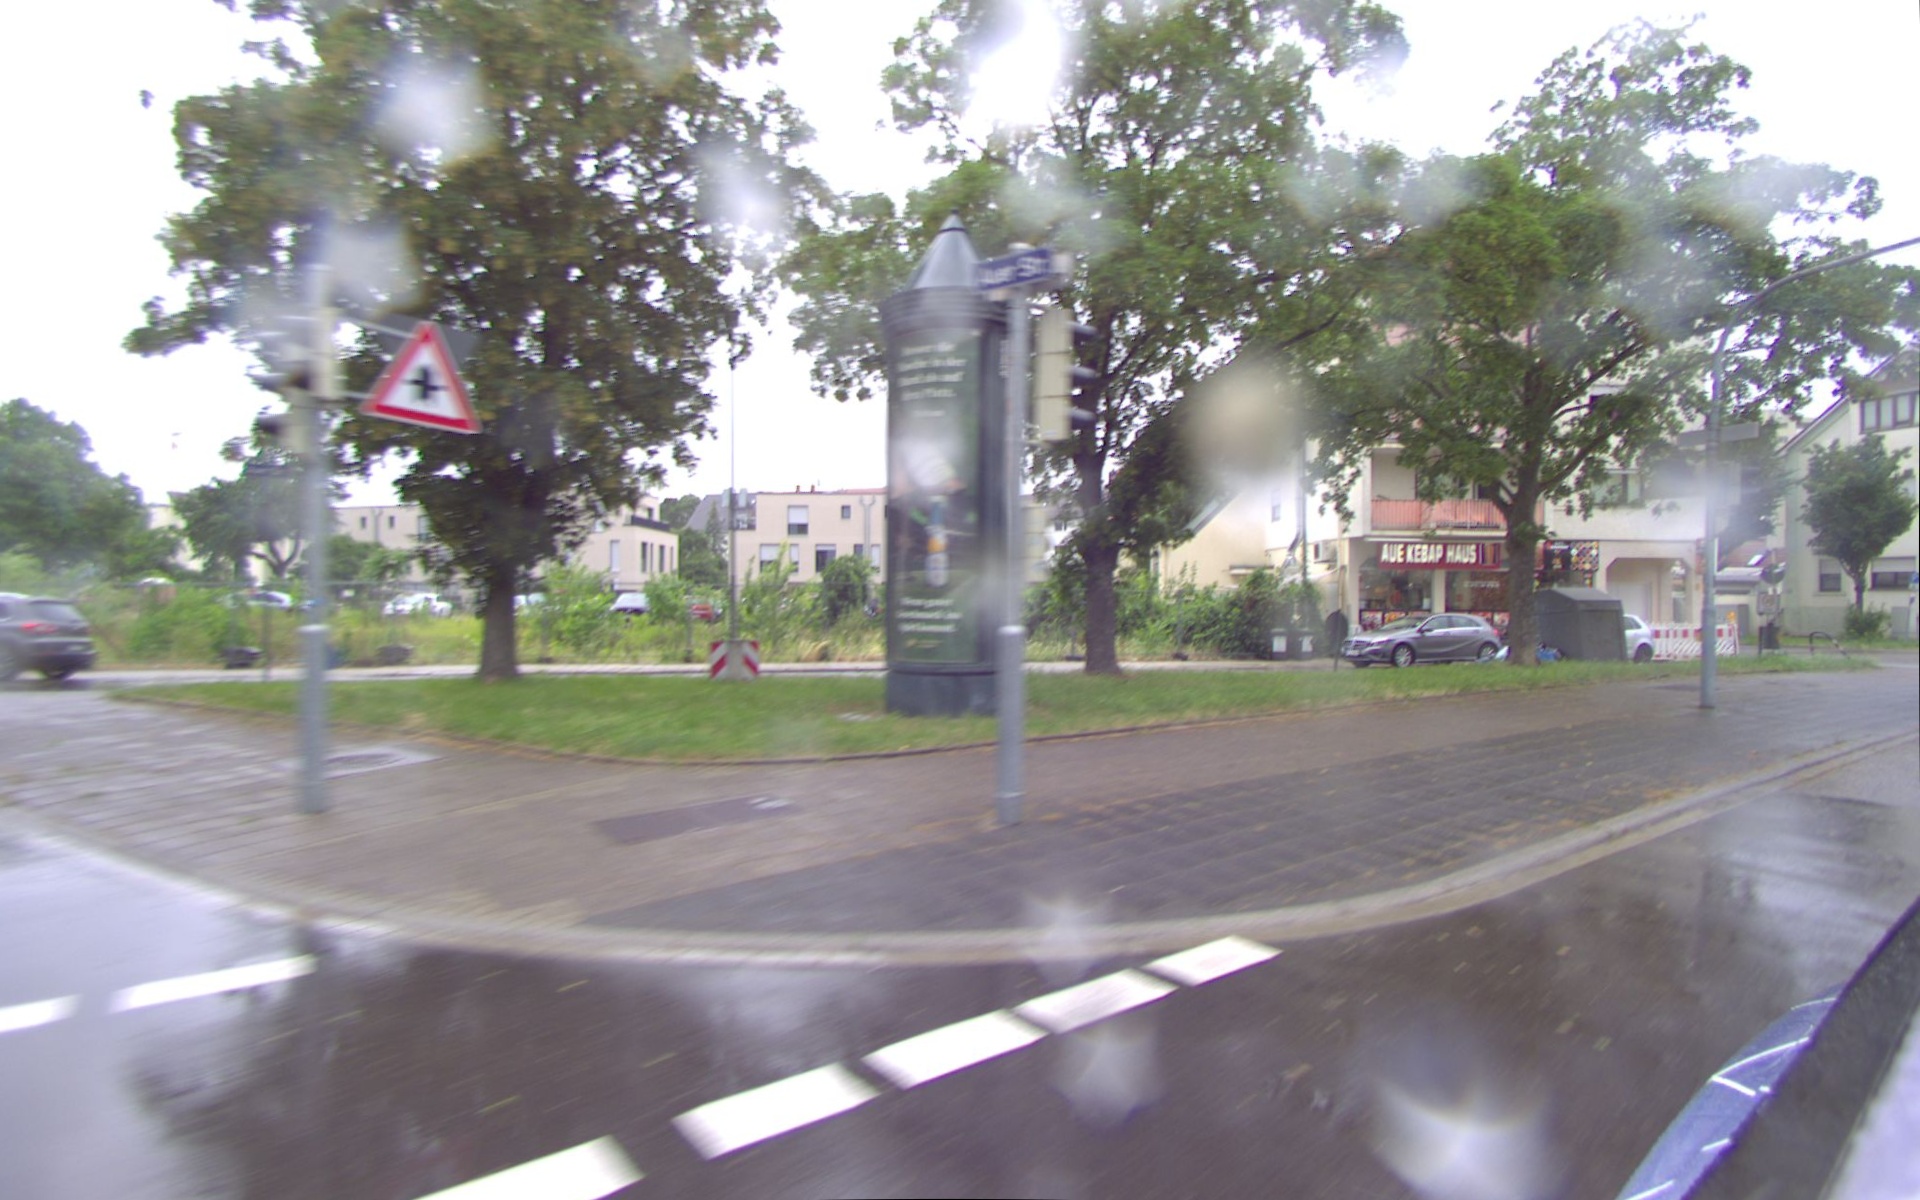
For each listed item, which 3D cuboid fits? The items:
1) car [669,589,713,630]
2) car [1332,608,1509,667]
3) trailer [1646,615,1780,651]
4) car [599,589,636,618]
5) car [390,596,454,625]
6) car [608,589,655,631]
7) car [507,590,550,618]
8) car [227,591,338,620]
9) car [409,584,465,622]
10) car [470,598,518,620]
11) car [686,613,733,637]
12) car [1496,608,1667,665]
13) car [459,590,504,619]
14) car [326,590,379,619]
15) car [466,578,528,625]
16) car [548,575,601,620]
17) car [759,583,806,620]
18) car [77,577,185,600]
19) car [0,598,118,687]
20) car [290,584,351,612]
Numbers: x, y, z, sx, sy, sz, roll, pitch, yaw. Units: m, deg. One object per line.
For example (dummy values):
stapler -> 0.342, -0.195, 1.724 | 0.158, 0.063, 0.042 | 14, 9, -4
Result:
car -> -12.959, 0.477, 48.639 | 1.958, 1.883, 4.007 | 0, -1, -16
car -> 11.986, 0.929, 26.392 | 4.069, 1.452, 1.706 | 0, -1, -17
trailer -> 28.246, 1.206, 38.189 | 1.791, 1.247, 4.530 | 0, -1, 3
car -> -23.577, 0.272, 69.800 | 1.638, 1.938, 4.004 | 0, -1, -6
car -> -25.062, 0.482, 47.300 | 1.637, 1.282, 4.007 | 0, -1, -13
car -> -15.491, 0.456, 47.850 | 1.958, 1.883, 4.007 | 0, -1, -16
car -> -29.735, 0.286, 69.886 | 1.638, 1.938, 4.004 | 0, -1, -6
car -> -31.018, 0.250, 46.446 | 3.916, 1.282, 1.772 | 0, -1, -19
car -> -29.180, 0.185, 56.572 | 1.958, 2.039, 4.007 | 0, -1, -15
car -> -25.978, 0.517, 56.548 | 1.732, 1.150, 4.408 | 0, -1, -15
car -> -14.652, 1.456, 59.389 | 1.733, 1.360, 4.092 | 0, -1, 0
car -> 16.806, 0.956, 27.408 | 4.088, 1.452, 1.642 | 0, -1, -17
car -> -33.120, 0.296, 70.135 | 1.638, 1.938, 4.004 | 0, -1, -6
car -> -42.022, 0.315, 70.079 | 1.638, 1.938, 4.004 | 0, -1, -6
car -> -21.125, 0.078, 46.291 | 1.958, 2.039, 4.007 | 0, -1, -15
car -> -18.055, -0.094, 47.597 | 1.958, 2.039, 4.007 | 0, -1, -15
car -> -8.585, 0.090, 48.668 | 1.869, 1.705, 4.007 | 0, -1, -15
car -> -43.184, -0.595, 52.781 | 4.320, 1.150, 1.767 | 0, -1, 3
car -> -19.297, 0.804, 19.572 | 4.214, 1.676, 1.863 | 0, -1, -14
car -> -34.325, -0.061, 54.417 | 1.732, 1.427, 4.408 | 0, -1, -18
